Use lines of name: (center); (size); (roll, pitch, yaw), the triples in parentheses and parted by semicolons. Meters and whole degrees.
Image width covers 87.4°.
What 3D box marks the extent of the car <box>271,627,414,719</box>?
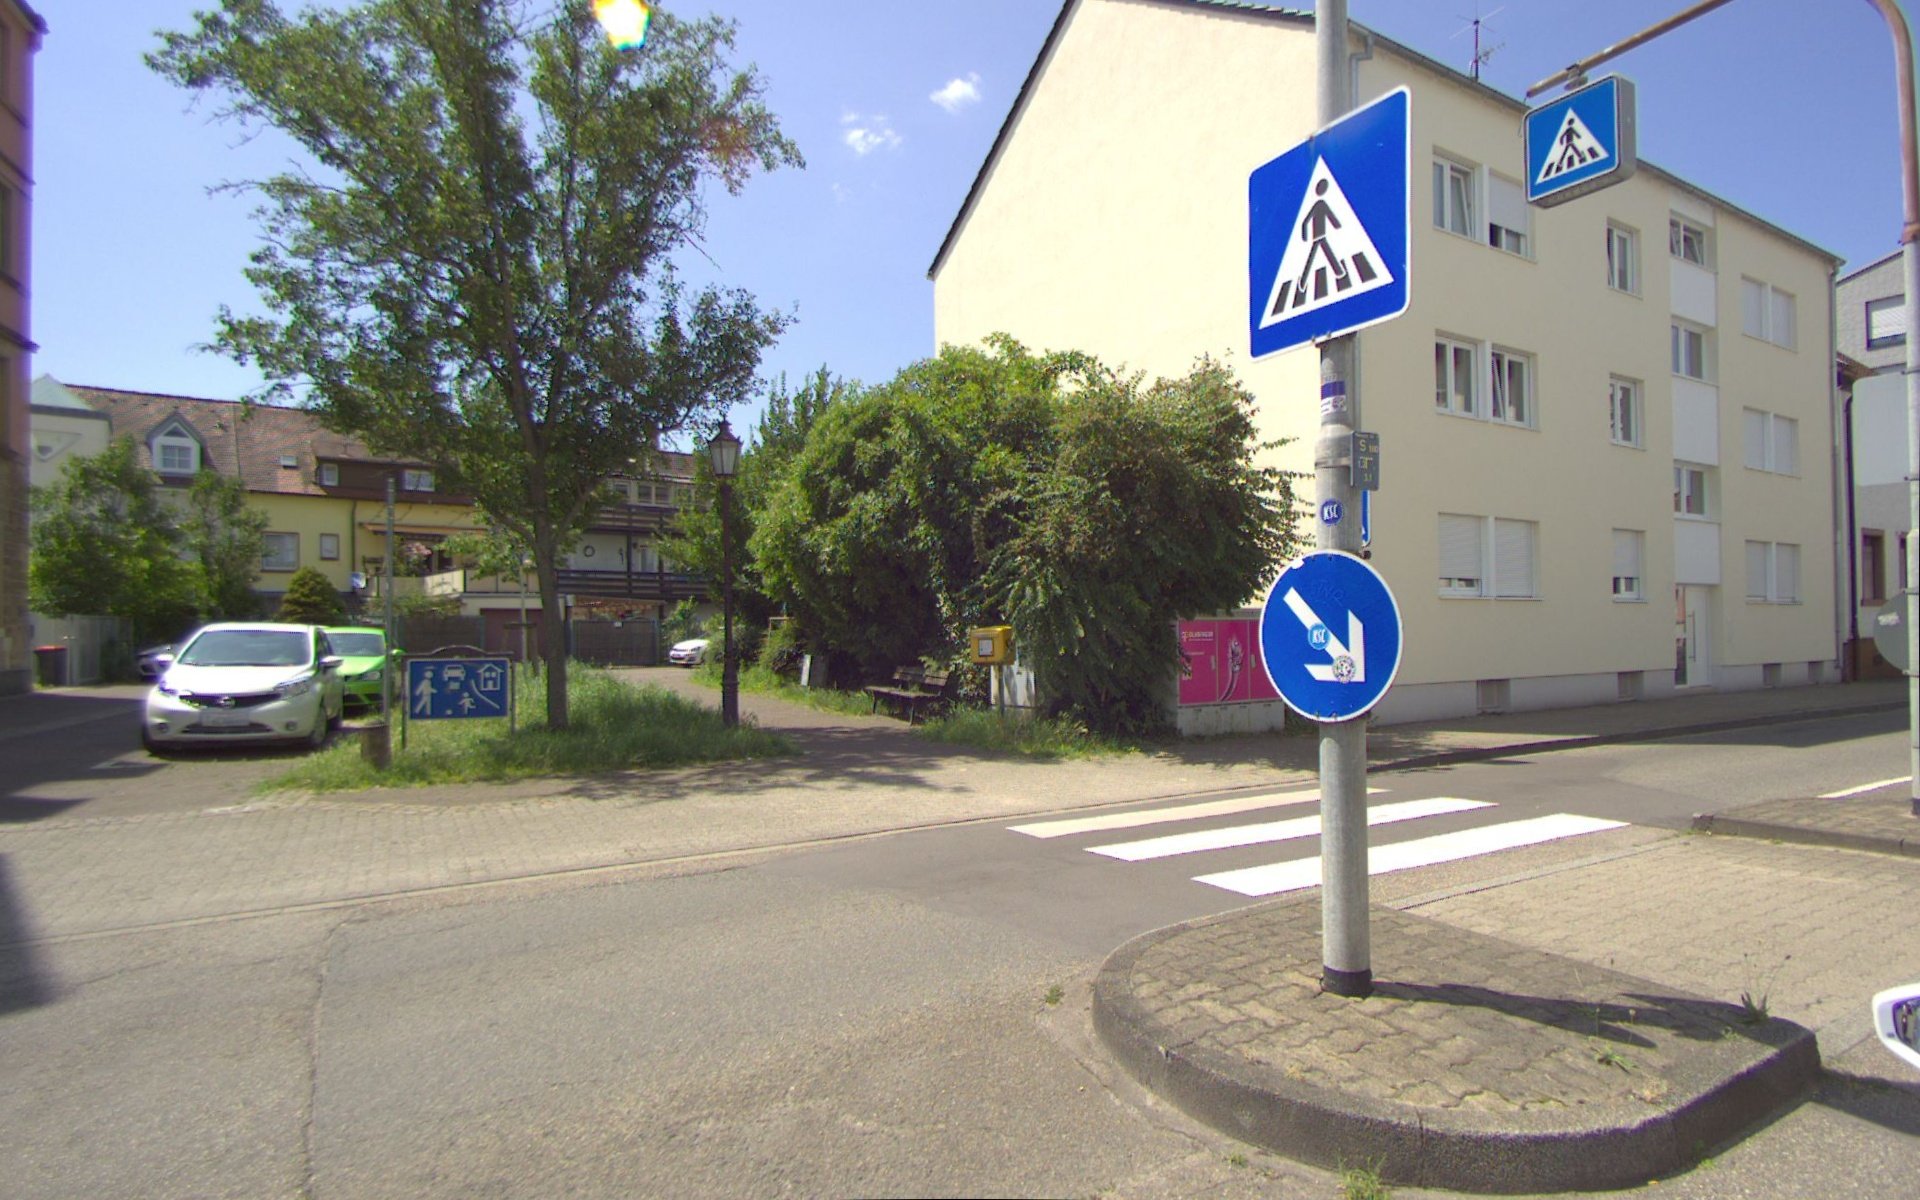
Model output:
car: (-10.757, 1.213, 17.754); (1.780, 1.416, 3.974); (0, -2, -26)

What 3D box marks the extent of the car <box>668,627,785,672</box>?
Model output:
car: (-8.351, 1.730, 36.142); (1.439, 1.439, 3.974); (1, 0, 45)

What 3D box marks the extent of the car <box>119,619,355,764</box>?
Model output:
car: (-9.137, 1.029, 13.053); (1.845, 1.522, 3.973); (0, -1, -26)

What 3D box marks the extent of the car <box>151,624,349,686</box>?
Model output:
car: (-19.051, 1.416, 27.083); (4.248, 1.474, 1.654); (1, 0, -38)
